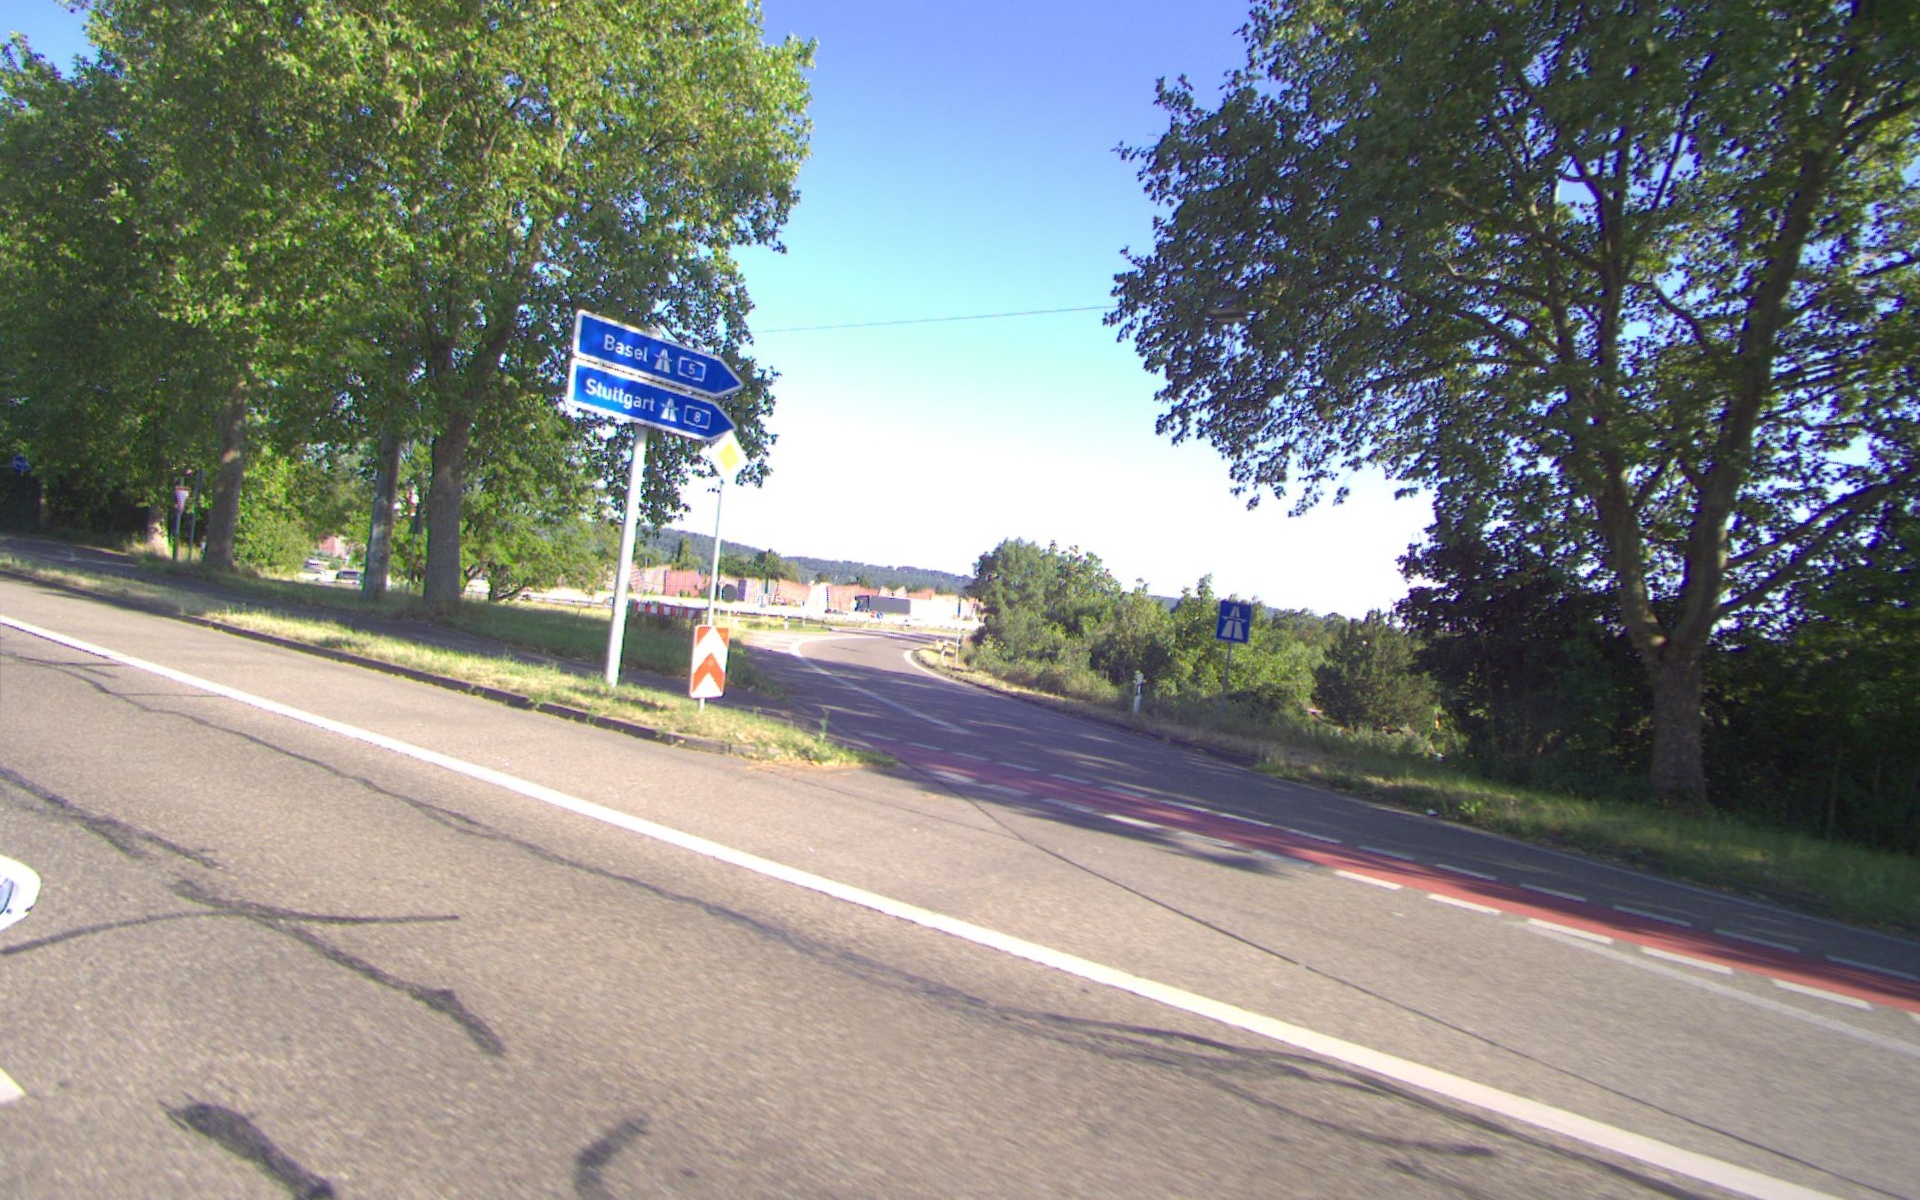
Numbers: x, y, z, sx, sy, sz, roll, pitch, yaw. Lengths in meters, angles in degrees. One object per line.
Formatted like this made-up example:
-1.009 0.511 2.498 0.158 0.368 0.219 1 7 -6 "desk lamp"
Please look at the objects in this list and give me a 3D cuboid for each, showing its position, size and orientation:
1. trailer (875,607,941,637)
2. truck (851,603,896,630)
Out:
-9.671 4.124 188.104 11.936 3.881 3.113 10 -3 -28 "trailer"
-15.902 3.031 184.758 7.261 3.882 3.113 9 -3 -28 "truck"
